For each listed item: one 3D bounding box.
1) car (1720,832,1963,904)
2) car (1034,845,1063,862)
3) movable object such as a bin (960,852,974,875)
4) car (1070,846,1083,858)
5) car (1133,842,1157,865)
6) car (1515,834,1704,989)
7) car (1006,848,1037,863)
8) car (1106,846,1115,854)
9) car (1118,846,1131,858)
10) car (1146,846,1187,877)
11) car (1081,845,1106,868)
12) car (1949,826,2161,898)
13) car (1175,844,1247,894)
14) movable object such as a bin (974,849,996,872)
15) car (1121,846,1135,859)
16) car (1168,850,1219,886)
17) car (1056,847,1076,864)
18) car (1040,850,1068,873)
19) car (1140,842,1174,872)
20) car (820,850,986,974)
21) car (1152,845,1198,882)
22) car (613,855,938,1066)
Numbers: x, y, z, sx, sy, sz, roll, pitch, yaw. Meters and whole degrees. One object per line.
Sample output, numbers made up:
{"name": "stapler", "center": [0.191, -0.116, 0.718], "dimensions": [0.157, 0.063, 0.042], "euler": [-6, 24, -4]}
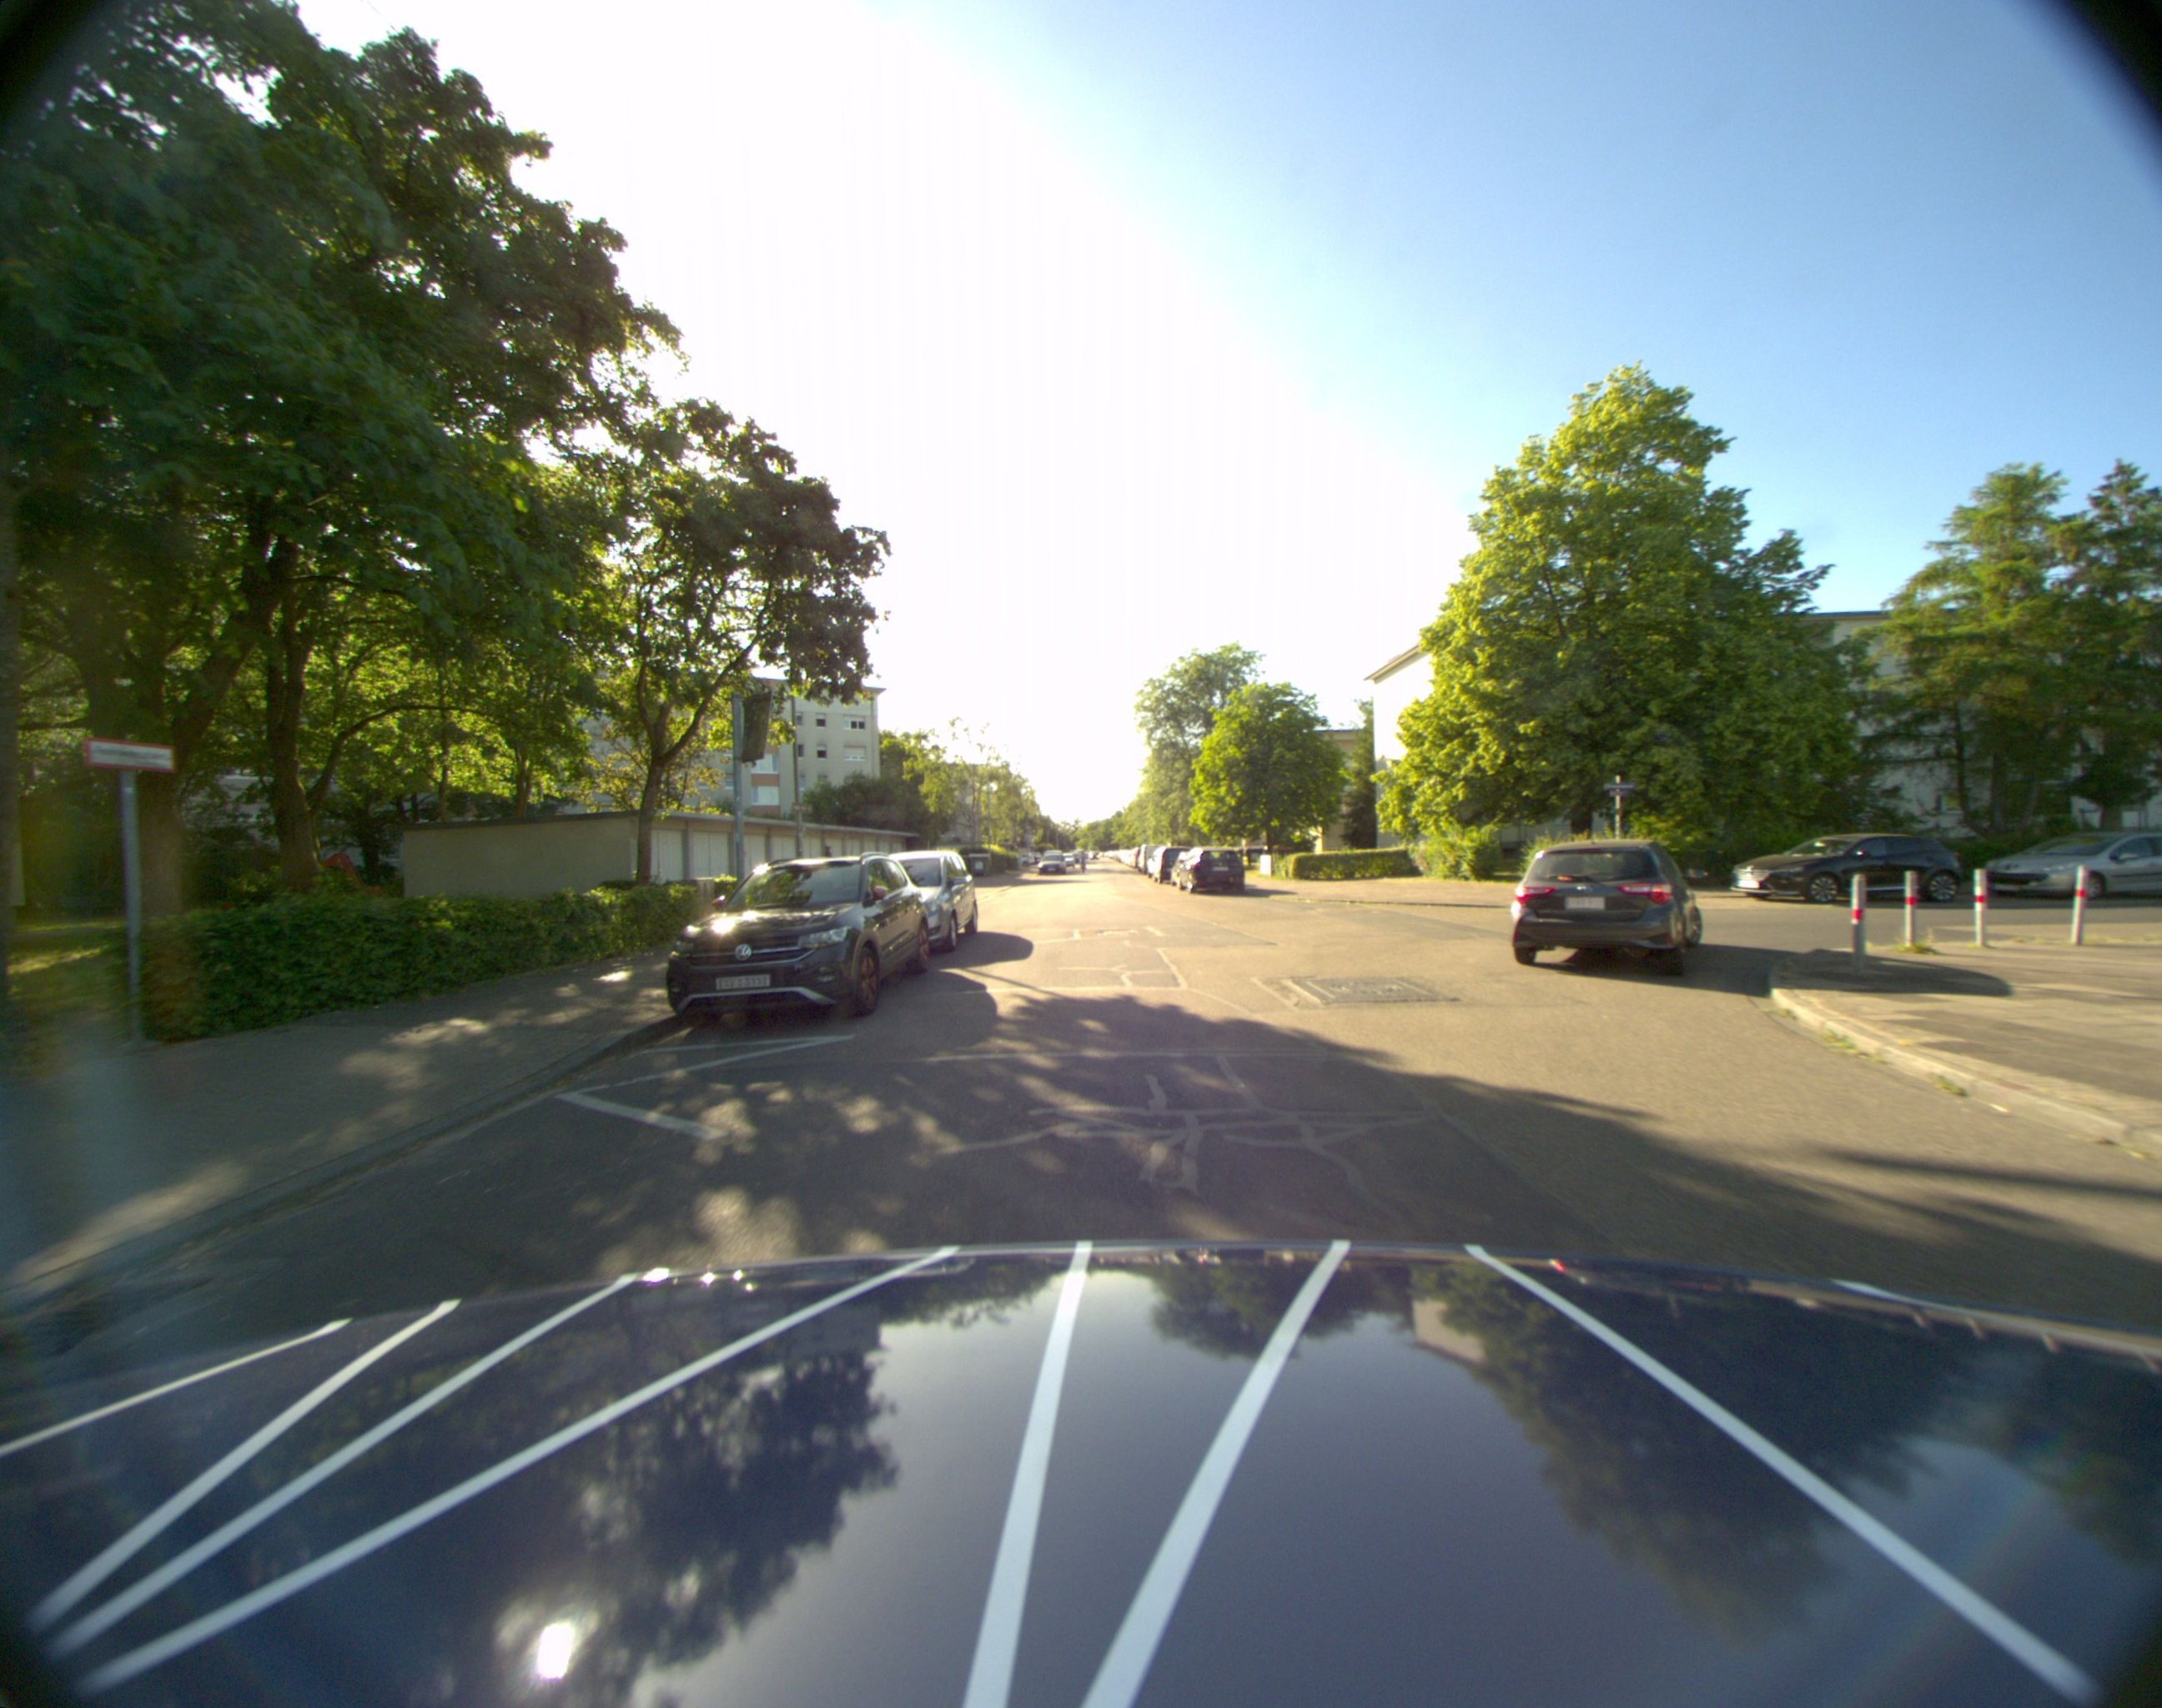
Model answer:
{"name": "car", "center": [17.437, 0.293, 17.556], "dimensions": [3.925, 1.534, 1.746], "euler": [-1, 1, -2]}
{"name": "car", "center": [-4.466, -0.112, 104.853], "dimensions": [3.777, 2.002, 1.810], "euler": [-4, 2, 0]}
{"name": "movable object such as a bin", "center": [-7.239, 0.573, 48.205], "dimensions": [0.754, 1.434, 0.848], "euler": [0, 2, -1]}
{"name": "car", "center": [-0.652, -0.266, 109.497], "dimensions": [1.732, 1.586, 3.812], "euler": [-3, 0, 1]}
{"name": "car", "center": [5.512, -0.028, 65.698], "dimensions": [1.732, 1.941, 3.812], "euler": [0, 0, 1]}
{"name": "car", "center": [6.910, 0.541, 9.761], "dimensions": [1.650, 1.547, 4.009], "euler": [1, 2, 40]}
{"name": "car", "center": [-6.976, 0.163, 88.773], "dimensions": [3.504, 1.499, 1.602], "euler": [-4, 2, -5]}
{"name": "car", "center": [6.045, -0.798, 155.692], "dimensions": [1.632, 1.619, 3.556], "euler": [0, 0, 1]}
{"name": "car", "center": [5.936, -0.246, 104.362], "dimensions": [1.632, 1.619, 3.556], "euler": [0, 0, 1]}
{"name": "car", "center": [4.729, 0.394, 42.293], "dimensions": [1.732, 1.630, 4.169], "euler": [0, 0, -1]}
{"name": "car", "center": [0.936, 0.146, 55.993], "dimensions": [1.732, 1.586, 3.812], "euler": [-3, 0, 1]}
{"name": "car", "center": [22.778, 0.140, 17.370], "dimensions": [3.925, 1.534, 1.746], "euler": [-1, 1, -2]}
{"name": "car", "center": [4.426, 0.463, 26.544], "dimensions": [1.784, 1.564, 4.423], "euler": [-1, 0, 1]}
{"name": "movable object such as a bin", "center": [-6.167, 0.436, 48.696], "dimensions": [1.278, 1.434, 1.179], "euler": [0, 2, -1]}
{"name": "car", "center": [6.095, -0.188, 98.830], "dimensions": [1.632, 1.619, 3.556], "euler": [0, 0, 1]}
{"name": "car", "center": [4.618, 0.548, 31.681], "dimensions": [1.627, 1.428, 3.653], "euler": [0, 0, 1]}
{"name": "car", "center": [-1.447, 0.132, 75.258], "dimensions": [1.732, 1.586, 3.812], "euler": [-3, 0, 1]}
{"name": "car", "center": [-1.851, 0.514, 53.310], "dimensions": [1.732, 1.462, 3.812], "euler": [-3, 0, 1]}
{"name": "car", "center": [4.956, 0.182, 50.190], "dimensions": [1.909, 1.930, 4.511], "euler": [0, 0, 1]}
{"name": "car", "center": [-2.831, 0.823, 13.116], "dimensions": [1.773, 1.601, 4.371], "euler": [-4, 1, -1]}
{"name": "car", "center": [4.473, 0.410, 36.515], "dimensions": [1.817, 1.672, 3.648], "euler": [0, 1, 1]}
{"name": "car", "center": [-2.903, 0.885, 8.300], "dimensions": [1.809, 1.585, 4.023], "euler": [-4, 1, 0]}
